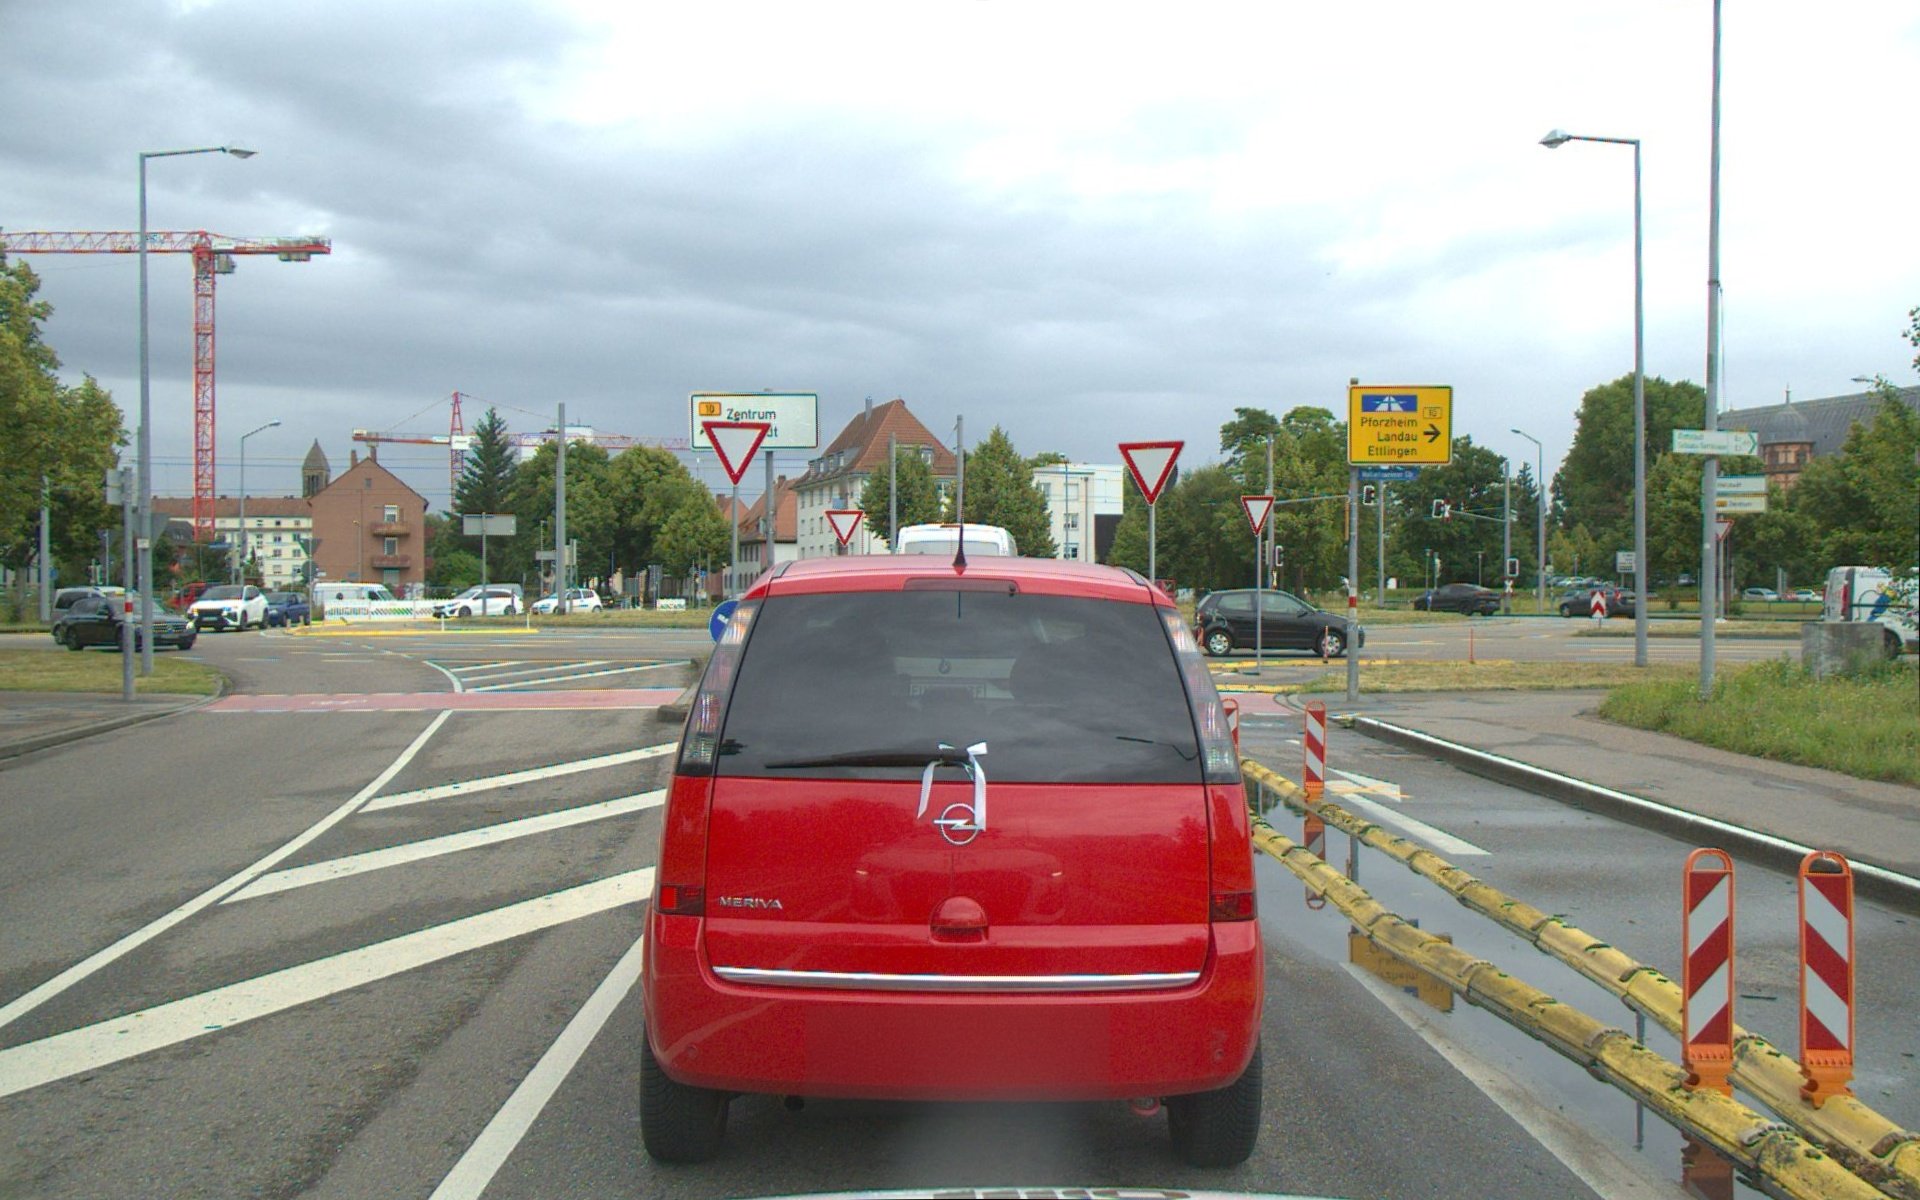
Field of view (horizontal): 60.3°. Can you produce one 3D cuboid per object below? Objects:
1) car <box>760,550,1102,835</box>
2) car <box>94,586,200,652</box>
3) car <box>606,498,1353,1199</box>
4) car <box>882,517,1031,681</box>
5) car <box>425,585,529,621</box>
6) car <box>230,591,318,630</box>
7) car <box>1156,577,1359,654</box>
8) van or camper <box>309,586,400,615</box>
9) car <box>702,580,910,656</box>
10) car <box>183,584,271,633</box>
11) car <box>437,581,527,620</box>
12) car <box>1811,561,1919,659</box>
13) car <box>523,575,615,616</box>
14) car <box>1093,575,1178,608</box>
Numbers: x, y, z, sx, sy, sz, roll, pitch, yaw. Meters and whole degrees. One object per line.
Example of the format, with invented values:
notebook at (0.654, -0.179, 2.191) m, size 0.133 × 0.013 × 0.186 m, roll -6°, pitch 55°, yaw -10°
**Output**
car at (-0.206, 0.539, 12.182) m, size 2.018 × 1.676 × 4.606 m, roll 1°, pitch 0°, yaw -1°
car at (-22.371, 0.484, 45.467) m, size 1.978 × 1.713 × 3.949 m, roll -1°, pitch 0°, yaw -36°
car at (0.019, 0.607, 5.485) m, size 1.639 × 1.669 × 3.626 m, roll 1°, pitch 0°, yaw -1°
car at (0.052, -0.036, 28.979) m, size 2.149 × 2.584 × 4.965 m, roll 1°, pitch 0°, yaw 5°
car at (-23.388, 0.111, 80.232) m, size 1.959 × 1.663 × 4.660 m, roll 0°, pitch 0°, yaw 34°
car at (-27.790, 0.419, 67.139) m, size 1.891 × 1.515 × 4.000 m, roll -1°, pitch 0°, yaw -1°
car at (6.605, 0.333, 36.930) m, size 4.331 × 1.630 × 2.101 m, roll 0°, pitch 0°, yaw 9°
van or camper at (-44.254, 0.064, 120.931) m, size 6.045 × 2.049 × 2.002 m, roll 0°, pitch 0°, yaw 10°
car at (-3.428, 0.398, 37.381) m, size 4.332 × 1.630 × 2.100 m, roll 0°, pitch 0°, yaw 6°
car at (-26.831, 0.286, 60.685) m, size 1.895 × 1.713 × 4.181 m, roll -1°, pitch 0°, yaw -8°
car at (-26.214, 0.024, 90.676) m, size 4.419 × 2.049 × 1.979 m, roll -1°, pitch 0°, yaw -31°
car at (20.072, 0.177, 33.509) m, size 4.730 × 1.933 × 2.100 m, roll 0°, pitch 0°, yaw 17°
car at (-20.018, -0.231, 84.856) m, size 1.959 × 2.049 × 4.466 m, roll 0°, pitch 0°, yaw 34°
car at (10.737, -0.522, 101.377) m, size 4.788 × 1.951 × 2.109 m, roll 0°, pitch 0°, yaw 34°
